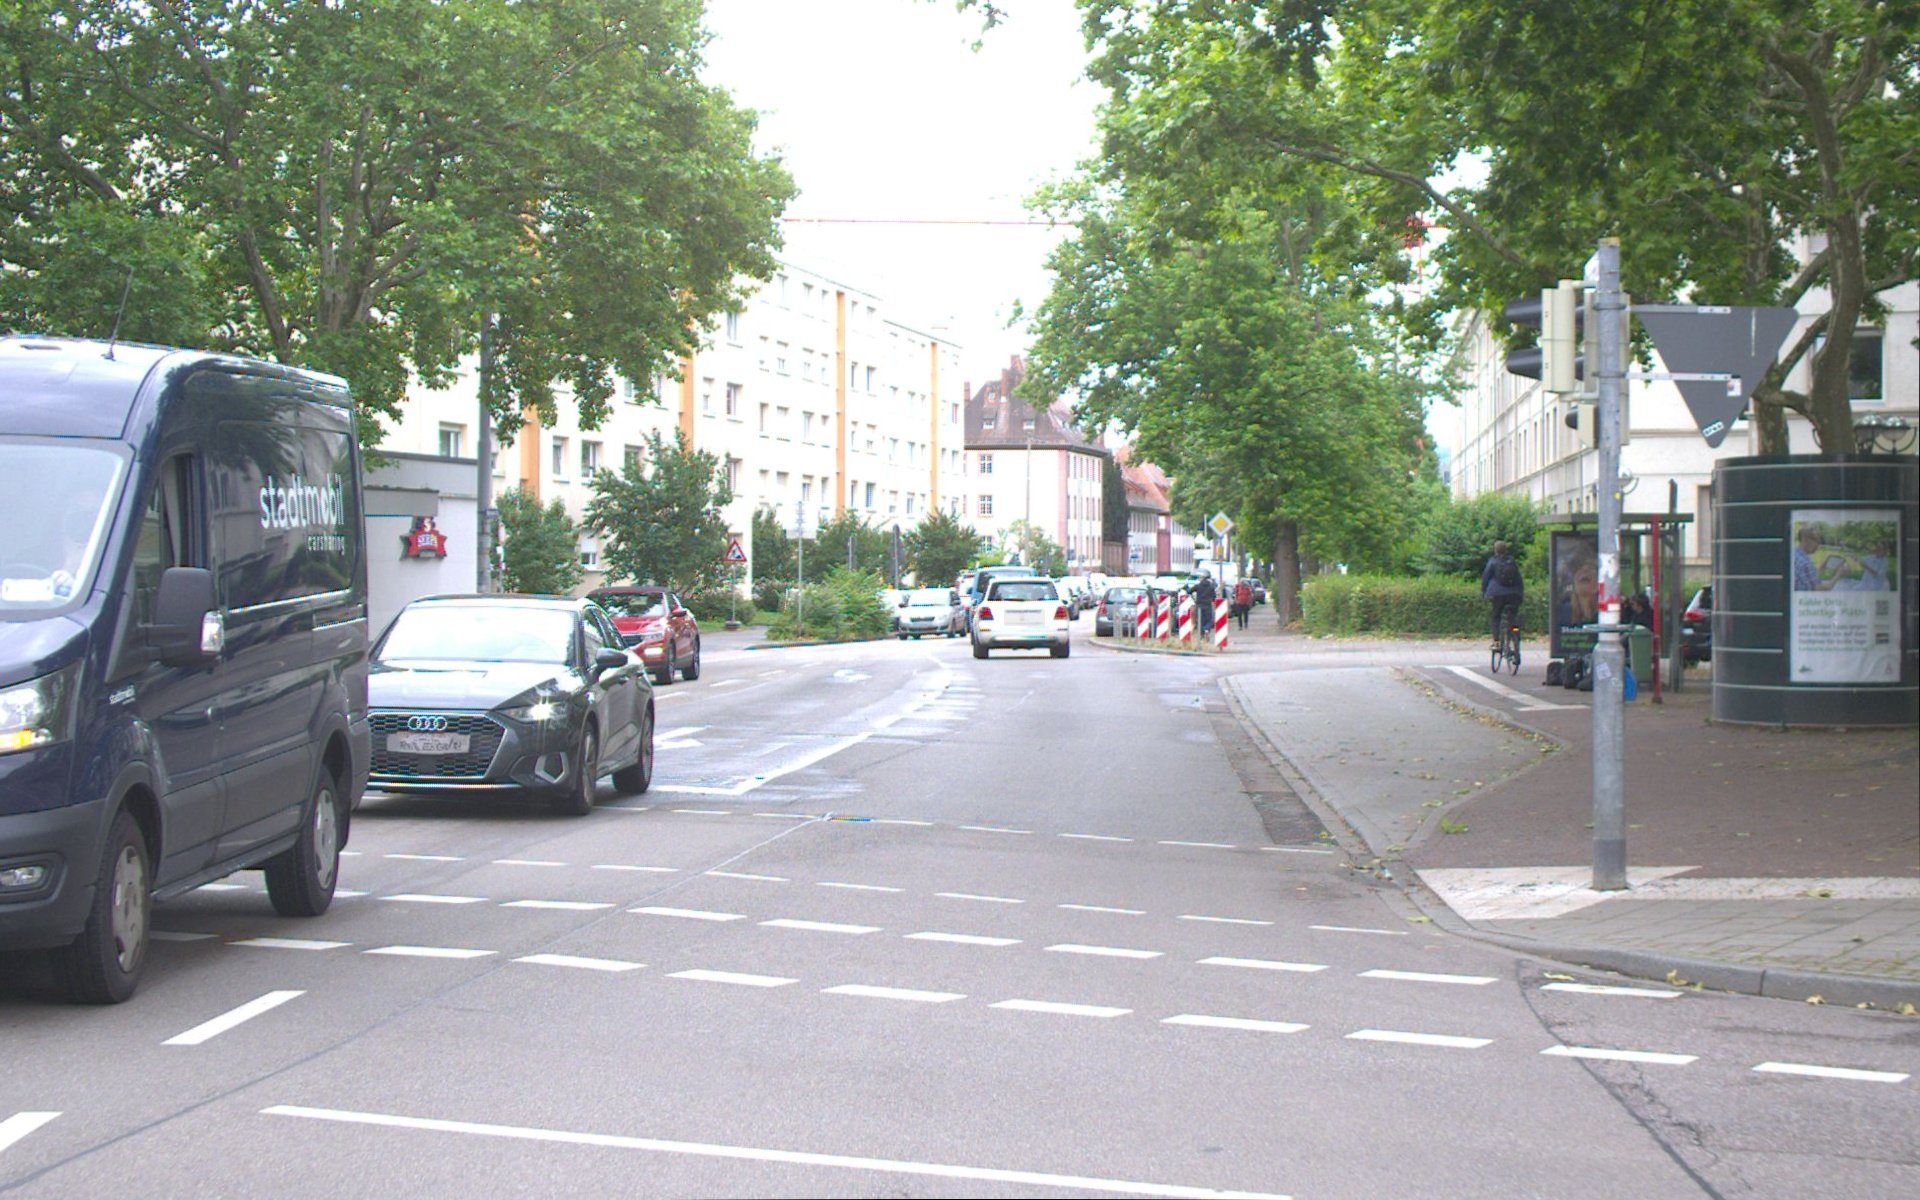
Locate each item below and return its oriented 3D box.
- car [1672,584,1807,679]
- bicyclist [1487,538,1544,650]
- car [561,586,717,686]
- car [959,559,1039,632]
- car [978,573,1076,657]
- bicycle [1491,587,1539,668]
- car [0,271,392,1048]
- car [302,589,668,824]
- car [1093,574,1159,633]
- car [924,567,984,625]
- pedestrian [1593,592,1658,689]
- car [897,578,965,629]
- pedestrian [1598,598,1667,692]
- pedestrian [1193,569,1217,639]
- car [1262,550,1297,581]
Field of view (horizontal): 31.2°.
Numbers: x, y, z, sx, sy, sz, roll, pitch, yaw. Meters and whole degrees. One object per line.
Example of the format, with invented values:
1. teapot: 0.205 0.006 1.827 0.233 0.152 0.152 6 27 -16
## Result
1. car: 12.345 0.462 54.308 1.516 1.423 3.996 0 0 21
2. bicyclist: 8.737 -0.103 54.115 0.760 1.753 0.820 0 0 -1
3. car: -5.002 0.536 54.041 1.853 1.448 4.167 0 1 3
4. car: 1.033 -0.136 88.735 1.993 1.842 4.000 0 1 2
5. car: 1.369 0.284 68.518 1.815 1.586 4.000 0 1 3
6. bicycle: 8.700 0.421 53.970 0.417 1.238 1.927 0 1 -1
7. car: -3.849 0.153 13.623 2.134 2.442 5.579 0 1 2
8. car: -3.147 0.658 23.595 1.809 1.422 4.317 0 1 2
9. car: 4.667 0.089 96.405 1.815 1.586 4.000 0 1 3
10. car: -0.179 -0.163 115.455 1.767 1.905 4.000 0 1 4
11. pedestrian: 9.488 0.572 49.032 0.818 1.367 0.762 0 0 3
12. car: -0.857 0.102 102.951 1.767 1.481 4.000 0 1 4
13. pedestrian: 9.409 0.625 48.095 0.853 1.310 0.762 0 0 3
14. pedestrian: 5.941 0.100 83.418 0.550 1.679 0.570 0 0 2
15. car: 20.961 -2.236 225.533 1.993 2.007 4.000 0 0 2
